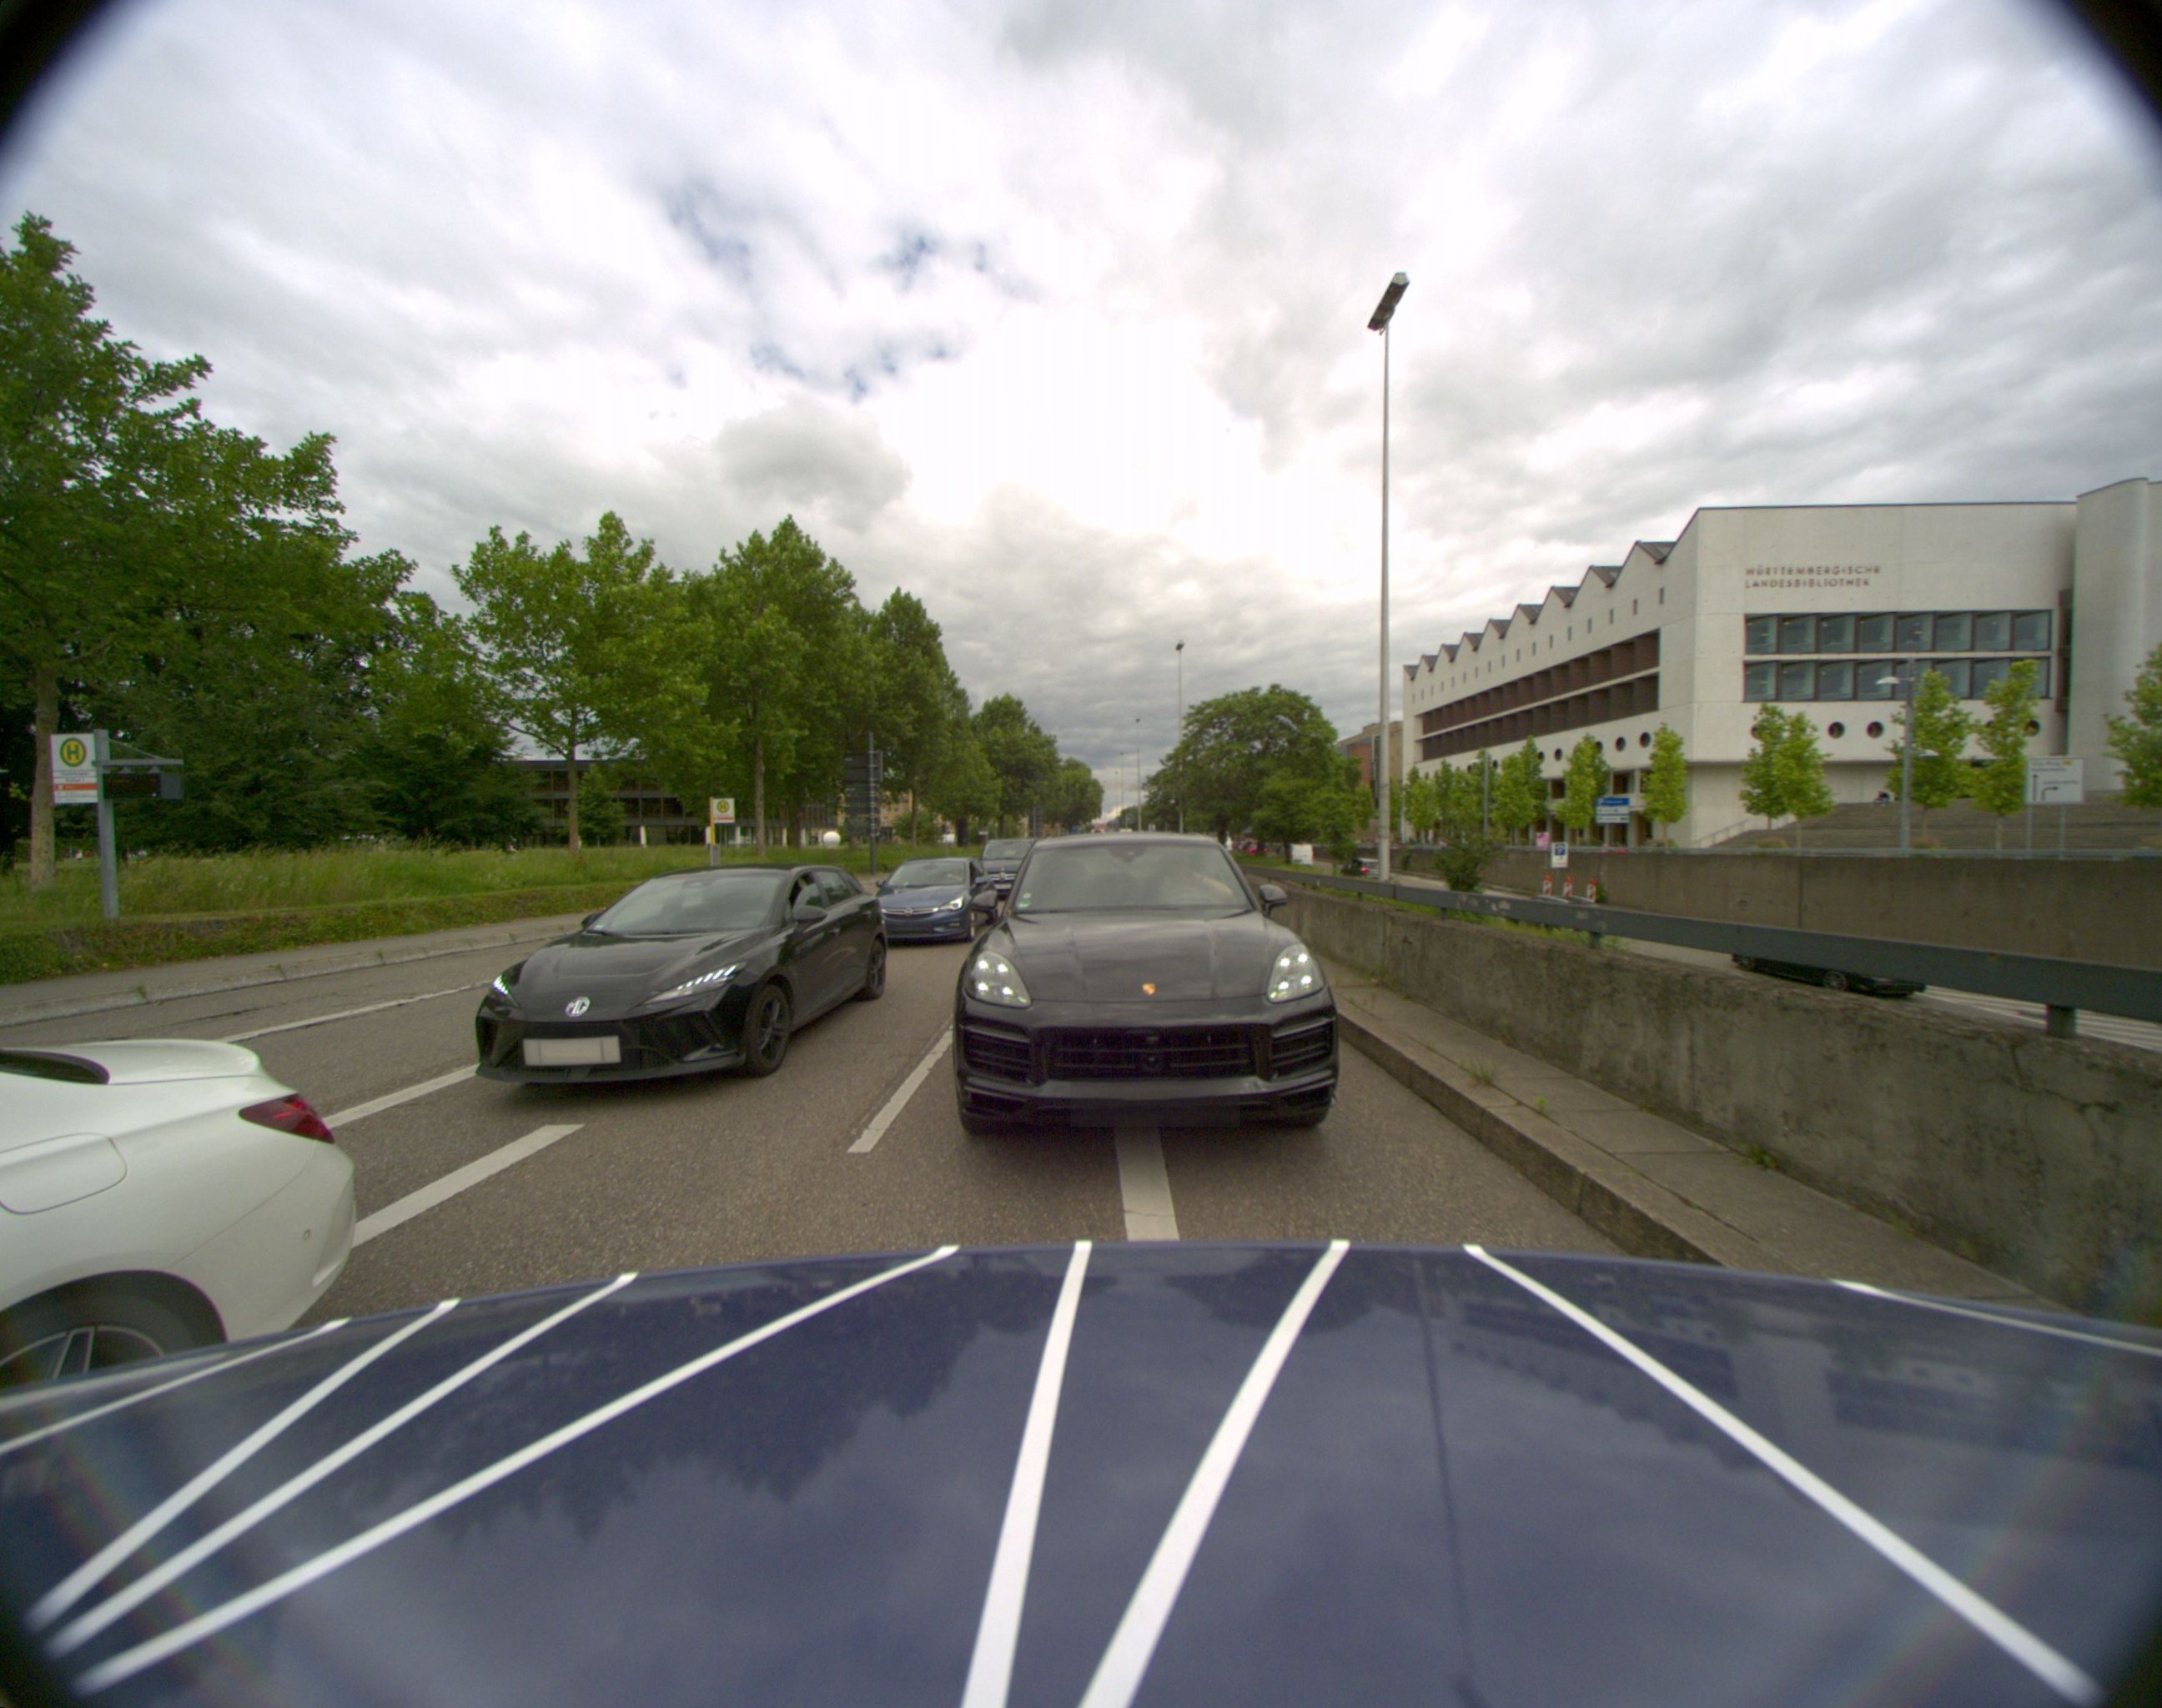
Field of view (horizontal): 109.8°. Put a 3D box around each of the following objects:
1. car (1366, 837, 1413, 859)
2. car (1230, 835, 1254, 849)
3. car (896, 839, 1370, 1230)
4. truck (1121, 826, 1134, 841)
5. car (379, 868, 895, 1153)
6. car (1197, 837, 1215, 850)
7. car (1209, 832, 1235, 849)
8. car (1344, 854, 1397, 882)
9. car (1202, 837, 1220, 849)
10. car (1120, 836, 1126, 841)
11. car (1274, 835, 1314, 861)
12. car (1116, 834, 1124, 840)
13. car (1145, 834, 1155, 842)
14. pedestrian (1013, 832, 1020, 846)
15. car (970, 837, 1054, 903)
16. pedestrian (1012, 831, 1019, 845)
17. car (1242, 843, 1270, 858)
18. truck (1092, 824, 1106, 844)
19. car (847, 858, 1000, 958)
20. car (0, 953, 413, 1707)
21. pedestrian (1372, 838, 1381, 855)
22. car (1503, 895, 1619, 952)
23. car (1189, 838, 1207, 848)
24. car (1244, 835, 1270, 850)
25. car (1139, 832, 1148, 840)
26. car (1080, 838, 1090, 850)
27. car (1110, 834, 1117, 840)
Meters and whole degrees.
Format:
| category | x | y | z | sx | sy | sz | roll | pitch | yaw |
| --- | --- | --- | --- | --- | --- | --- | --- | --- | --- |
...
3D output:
| category | x | y | z | sx | sy | sz | roll | pitch | yaw |
| --- | --- | --- | --- | --- | --- | --- | --- | --- | --- |
| car | 27.198 | -0.514 | 67.214 | 2.180 | 1.844 | 4.735 | -1 | 1 | -1 |
| car | 20.151 | -1.531 | 95.344 | 1.875 | 1.604 | 4.386 | 0 | 4 | -3 |
| car | 0.339 | 0.708 | 5.475 | 1.904 | 1.581 | 4.732 | -1 | 1 | 3 |
| truck | 10.713 | -4.664 | 174.232 | 2.576 | 3.289 | 8.078 | -3 | 2 | 2 |
| car | -3.093 | 0.959 | 6.480 | 1.852 | 1.481 | 4.092 | -1 | 1 | 2 |
| car | 17.021 | -1.441 | 103.649 | 1.779 | 1.481 | 4.143 | 0 | 4 | 0 |
| car | 16.800 | -1.650 | 90.948 | 1.998 | 1.630 | 5.247 | 5 | 3 | 0 |
| car | 17.970 | 0.828 | 47.317 | 1.880 | 1.539 | 3.999 | -1 | 1 | 1 |
| car | 19.182 | -1.640 | 112.002 | 1.998 | 1.753 | 3.999 | 2 | 2 | 0 |
| car | 11.532 | -4.326 | 208.573 | 1.525 | 1.390 | 3.477 | -1 | 2 | 3 |
| car | 17.439 | -0.508 | 62.467 | 2.223 | 2.002 | 5.117 | -1 | 1 | 4 |
| car | 11.397 | -4.856 | 220.592 | 1.998 | 1.753 | 3.999 | 2 | 2 | 0 |
| car | 12.143 | -2.819 | 134.433 | 1.372 | 1.390 | 3.721 | 2 | 1 | 0 |
| pedestrian | -9.947 | -2.291 | 116.758 | 0.892 | 2.002 | 1.181 | -3 | 2 | 2 |
| car | -2.043 | 0.408 | 23.996 | 2.021 | 1.823 | 4.804 | -1 | 1 | 2 |
| pedestrian | -9.563 | -2.348 | 110.871 | 0.892 | 2.002 | 1.181 | -3 | 2 | 2 |
| car | 17.505 | -0.335 | 76.068 | 1.998 | 1.477 | 4.000 | -1 | 1 | 2 |
| truck | 3.465 | -3.865 | 142.643 | 2.357 | 3.518 | 9.423 | -3 | 2 | 2 |
| car | -2.670 | 0.853 | 13.849 | 1.805 | 1.426 | 4.015 | -1 | 1 | 2 |
| car | -3.181 | 1.095 | 0.222 | 1.799 | 1.412 | 4.526 | -1 | 1 | 2 |
| pedestrian | 35.393 | -0.939 | 91.010 | 0.722 | 2.002 | 1.016 | -3 | 2 | 2 |
| car | 17.477 | 2.482 | 27.897 | 1.717 | 1.533 | 3.906 | -3 | 2 | -2 |
| car | 16.818 | -1.562 | 109.693 | 1.998 | 1.390 | 3.999 | 2 | 1 | 0 |
| car | 20.208 | -1.303 | 87.284 | 1.780 | 1.481 | 4.142 | 0 | 4 | -2 |
| car | 11.712 | -3.299 | 141.992 | 1.372 | 1.390 | 3.721 | 2 | 1 | 0 |
| car | 0.786 | -1.913 | 141.946 | 1.693 | 2.002 | 3.999 | -3 | 2 | 2 |
| car | 10.447 | -5.503 | 243.375 | 1.998 | 1.753 | 3.999 | 2 | 2 | 0 |
